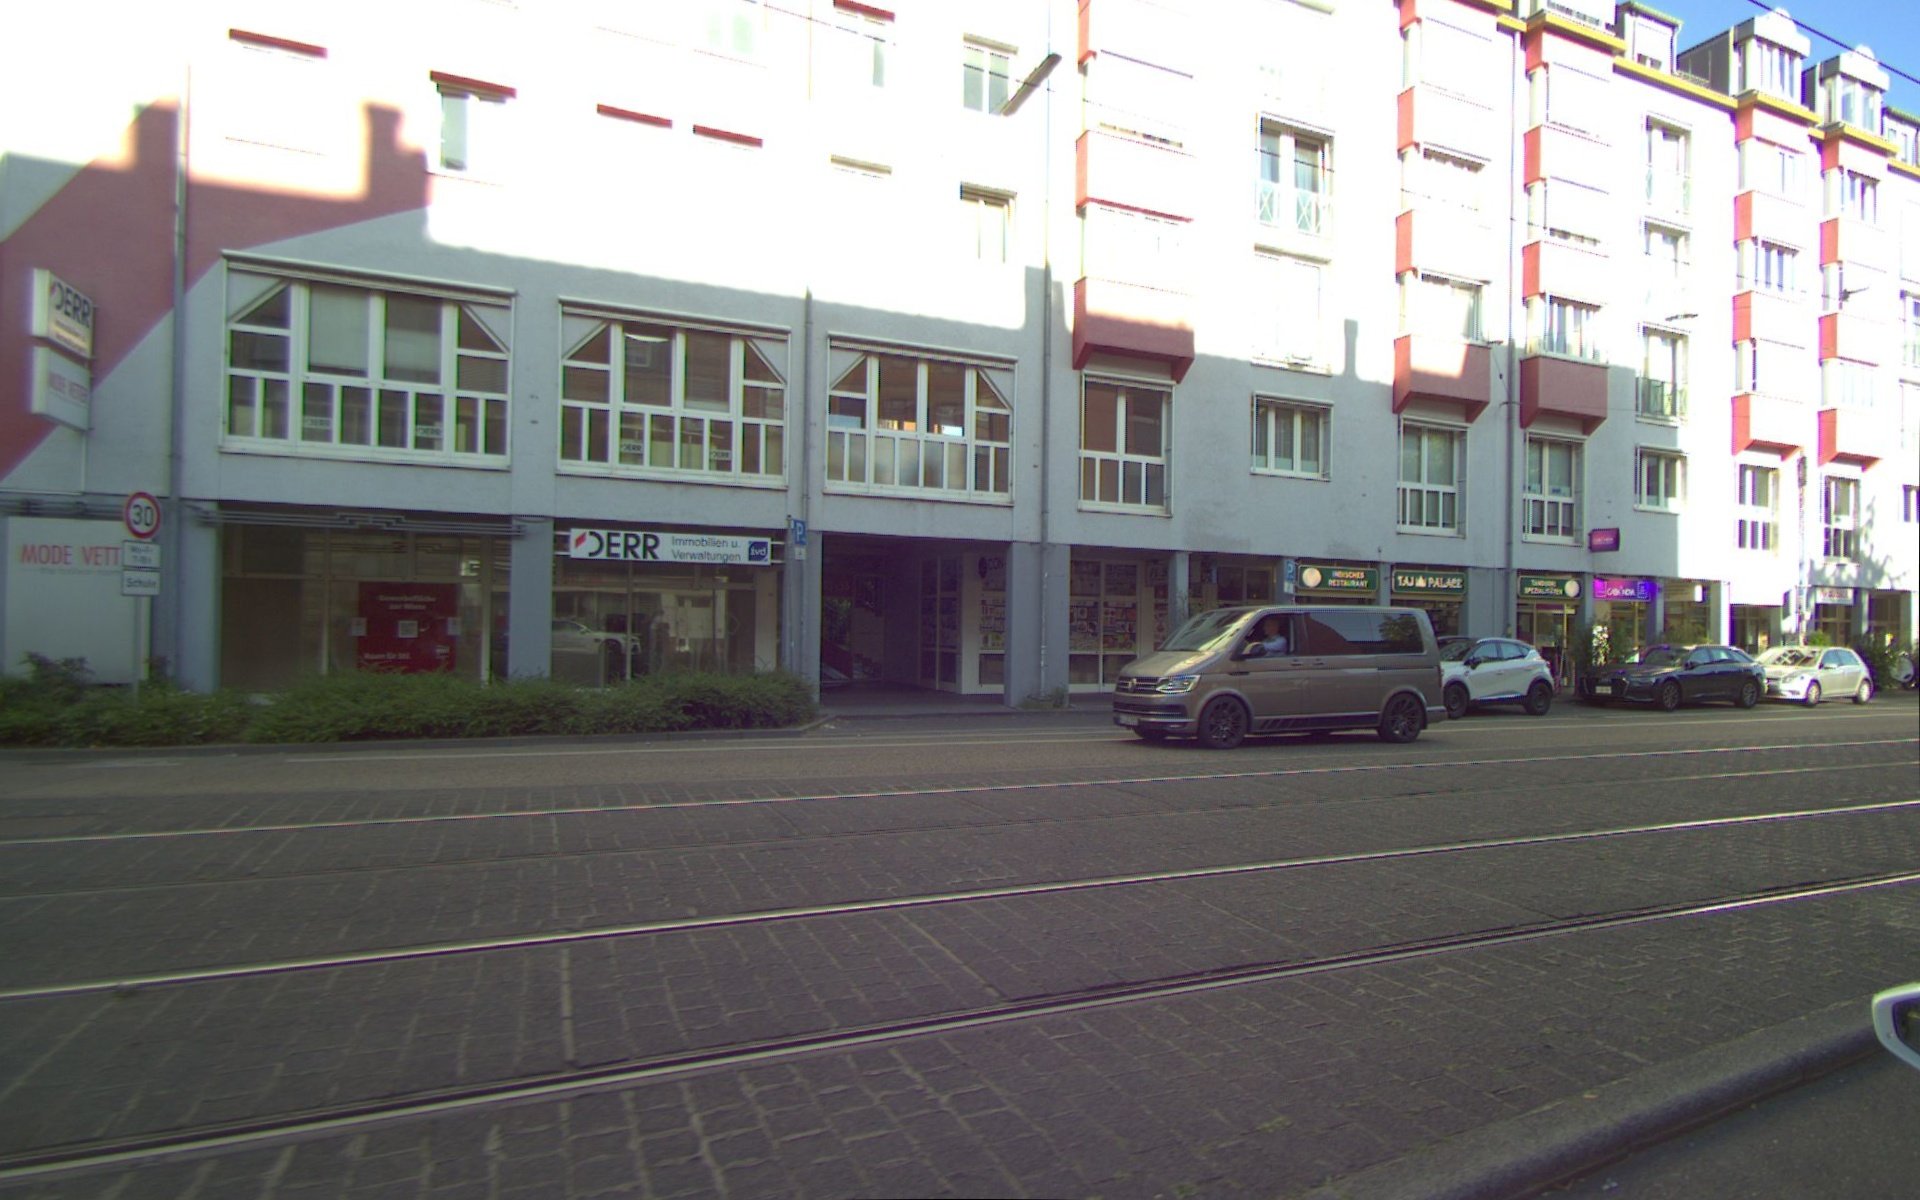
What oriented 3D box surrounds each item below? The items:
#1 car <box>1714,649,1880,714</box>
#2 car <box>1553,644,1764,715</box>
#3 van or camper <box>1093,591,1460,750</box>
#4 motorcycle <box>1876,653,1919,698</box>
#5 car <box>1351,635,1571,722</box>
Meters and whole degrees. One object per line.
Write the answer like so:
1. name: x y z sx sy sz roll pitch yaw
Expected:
1. car: 21.519 2.051 25.818 4.152 1.494 1.745 2 -1 -26
2. car: 16.411 1.829 23.573 4.759 1.477 1.897 2 -1 -24
3. van or camper: 4.456 0.998 14.224 4.761 1.965 1.991 2 -4 -21
4. motorcycle: 28.672 2.282 30.466 2.053 1.315 0.517 2 0 -24
5. car: 10.526 1.599 21.067 4.312 1.635 1.911 2 -1 -26
